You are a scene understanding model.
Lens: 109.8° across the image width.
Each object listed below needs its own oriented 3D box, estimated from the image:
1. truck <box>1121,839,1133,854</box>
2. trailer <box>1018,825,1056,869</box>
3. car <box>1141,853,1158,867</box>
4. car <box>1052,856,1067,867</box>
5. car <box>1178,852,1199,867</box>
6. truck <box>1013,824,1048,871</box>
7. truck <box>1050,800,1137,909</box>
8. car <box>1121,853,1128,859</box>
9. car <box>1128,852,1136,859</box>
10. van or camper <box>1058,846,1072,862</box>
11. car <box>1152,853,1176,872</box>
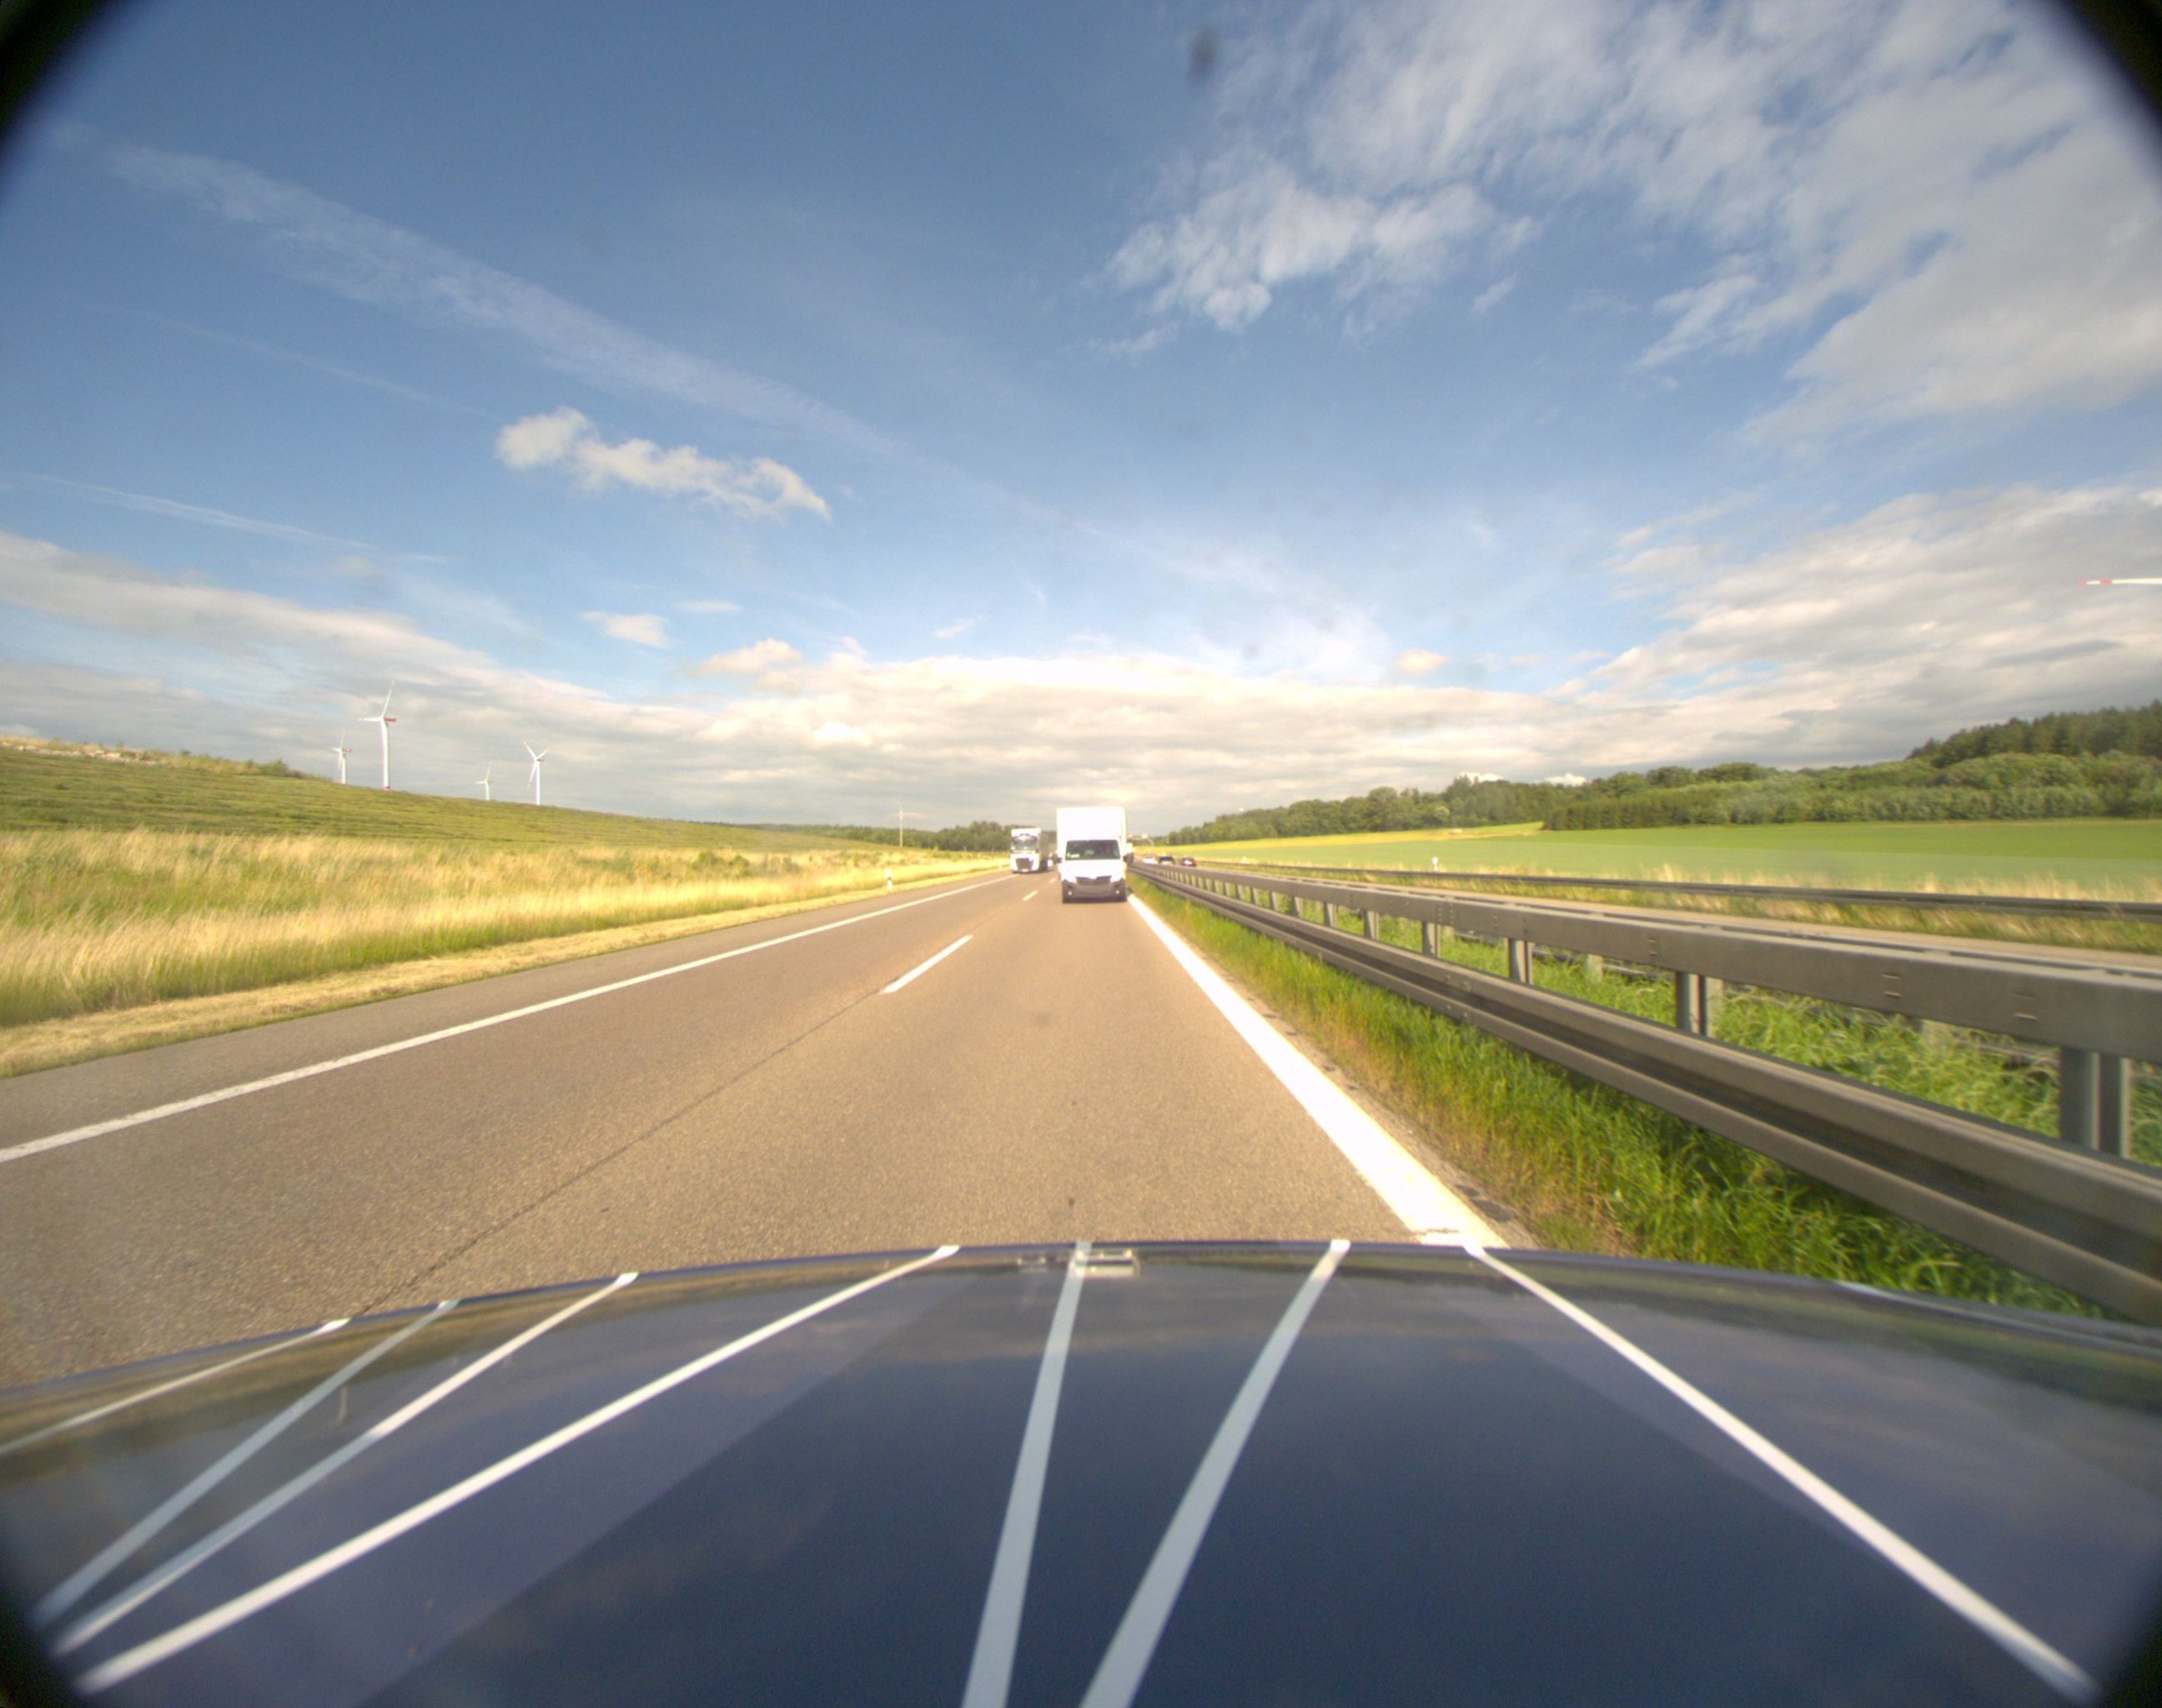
[{"bbox_3d":[14.579,-2.442,241.697,2.887,4.608,13.422,-2,1,1],"label":"truck"},{"bbox_3d":[-4.293,-0.726,76.715,2.623,4.017,13.697,-1,1,1],"label":"trailer"},{"bbox_3d":[8.700,0.740,96.479,1.754,1.512,4.479,-2,1,0],"label":"car"},{"bbox_3d":[-2.997,1.050,106.755,1.871,1.409,4.461,-2,1,1],"label":"car"},{"bbox_3d":[11.999,0.589,85.211,1.754,1.471,4.479,-2,1,0],"label":"car"},{"bbox_3d":[-4.493,-0.596,68.890,2.607,4.017,6.119,-1,1,1],"label":"truck"},{"bbox_3d":[0.390,0.026,28.105,2.502,3.141,11.163,-2,0,0],"label":"truck"},{"bbox_3d":[11.070,0.531,192.438,1.619,1.384,3.999,-2,1,0],"label":"car"},{"bbox_3d":[11.856,0.426,176.109,1.619,1.512,3.999,-2,1,0],"label":"car"},{"bbox_3d":[-2.833,-0.022,134.595,2.102,2.530,6.412,-2,1,1],"label":"van or camper"},{"bbox_3d":[7.756,0.775,71.294,1.754,1.594,4.265,-2,1,0],"label":"car"}]
